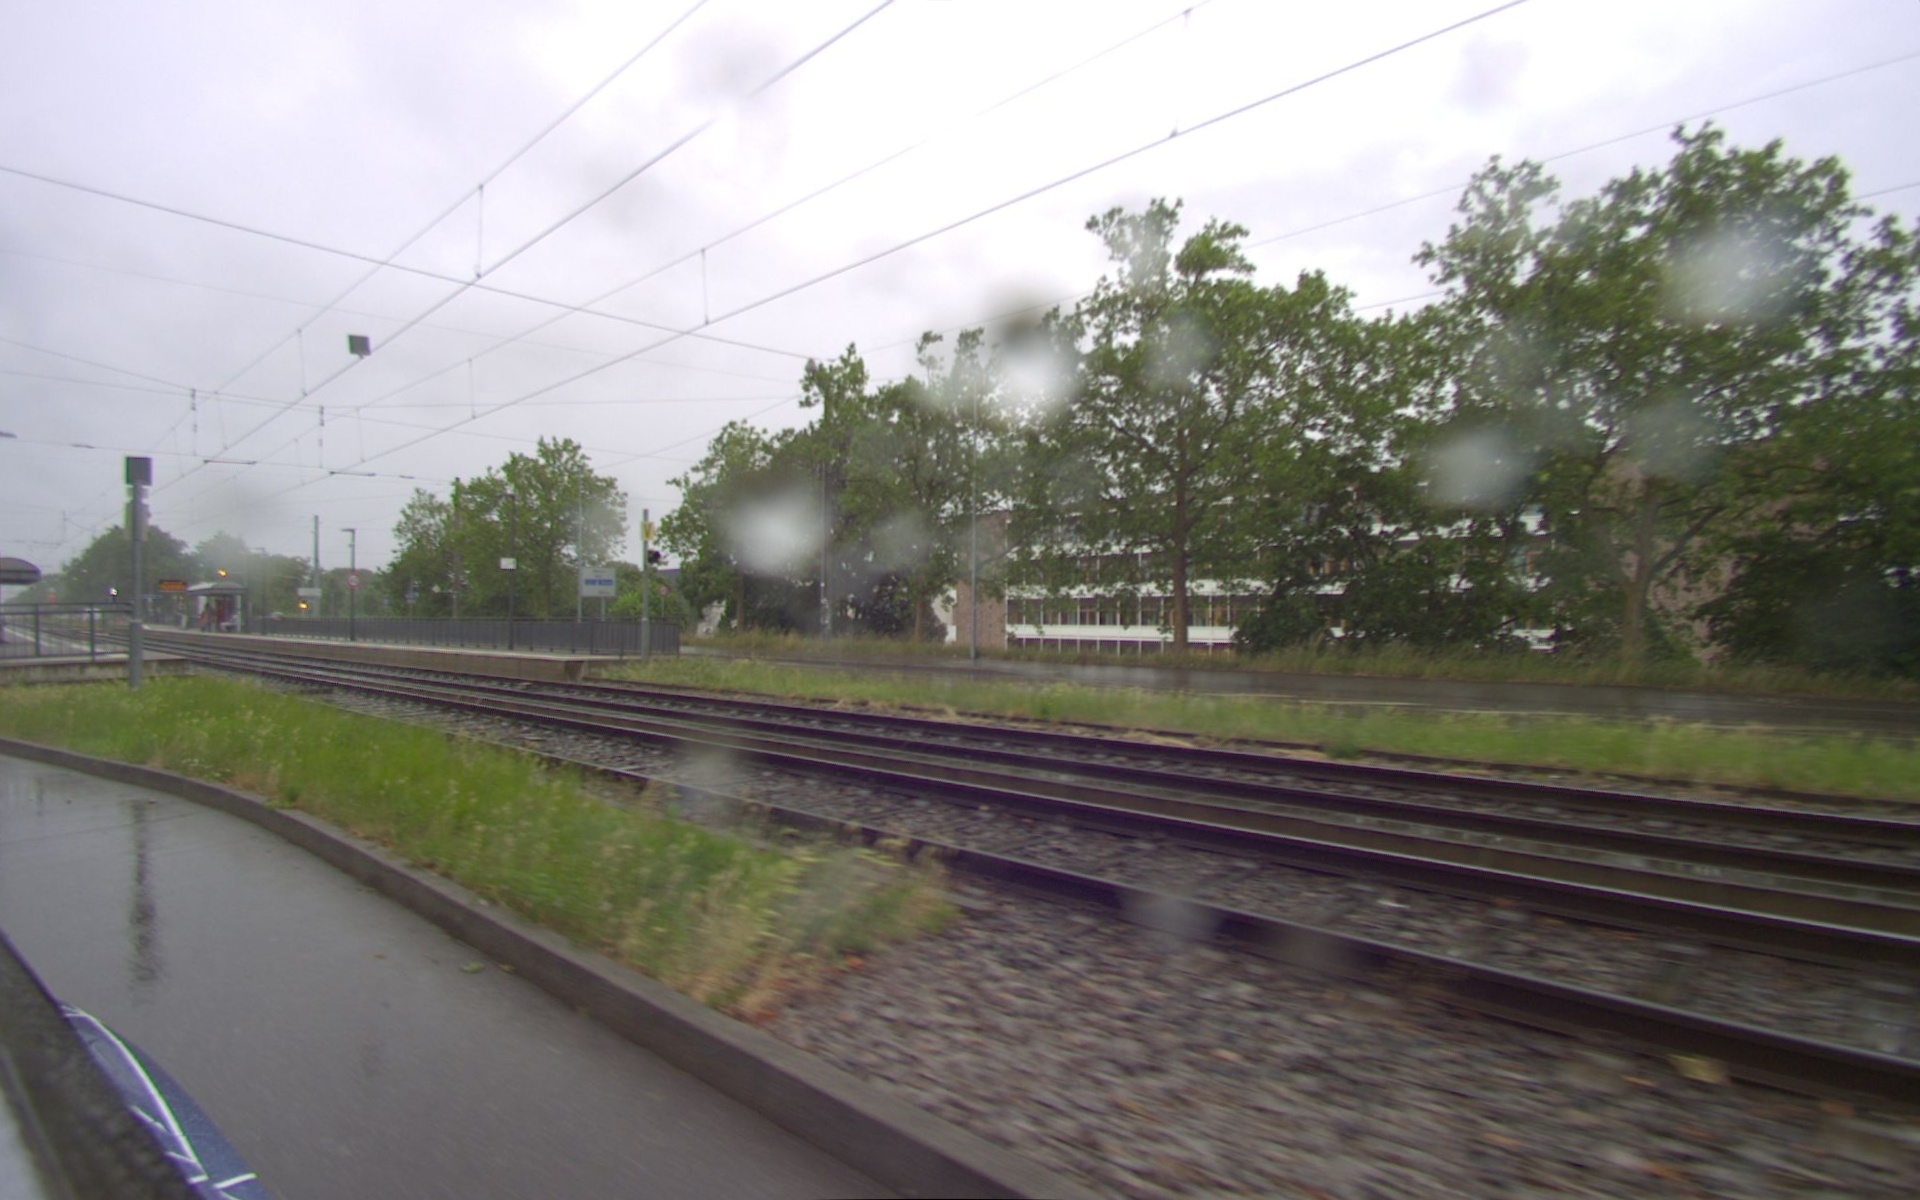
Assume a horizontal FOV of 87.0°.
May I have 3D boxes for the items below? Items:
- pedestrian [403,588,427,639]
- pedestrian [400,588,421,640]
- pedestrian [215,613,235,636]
[{"bbox_3d":[-44.508,1.095,82.635,1.515,4.059,1.159,0,0,34],"label":"pedestrian"},{"bbox_3d":[-43.251,1.091,79.686,1.152,4.059,1.524,0,0,-17],"label":"pedestrian"},{"bbox_3d":[-43.477,1.462,59.870,0.821,1.326,0.858,-1,0,-45],"label":"pedestrian"}]
